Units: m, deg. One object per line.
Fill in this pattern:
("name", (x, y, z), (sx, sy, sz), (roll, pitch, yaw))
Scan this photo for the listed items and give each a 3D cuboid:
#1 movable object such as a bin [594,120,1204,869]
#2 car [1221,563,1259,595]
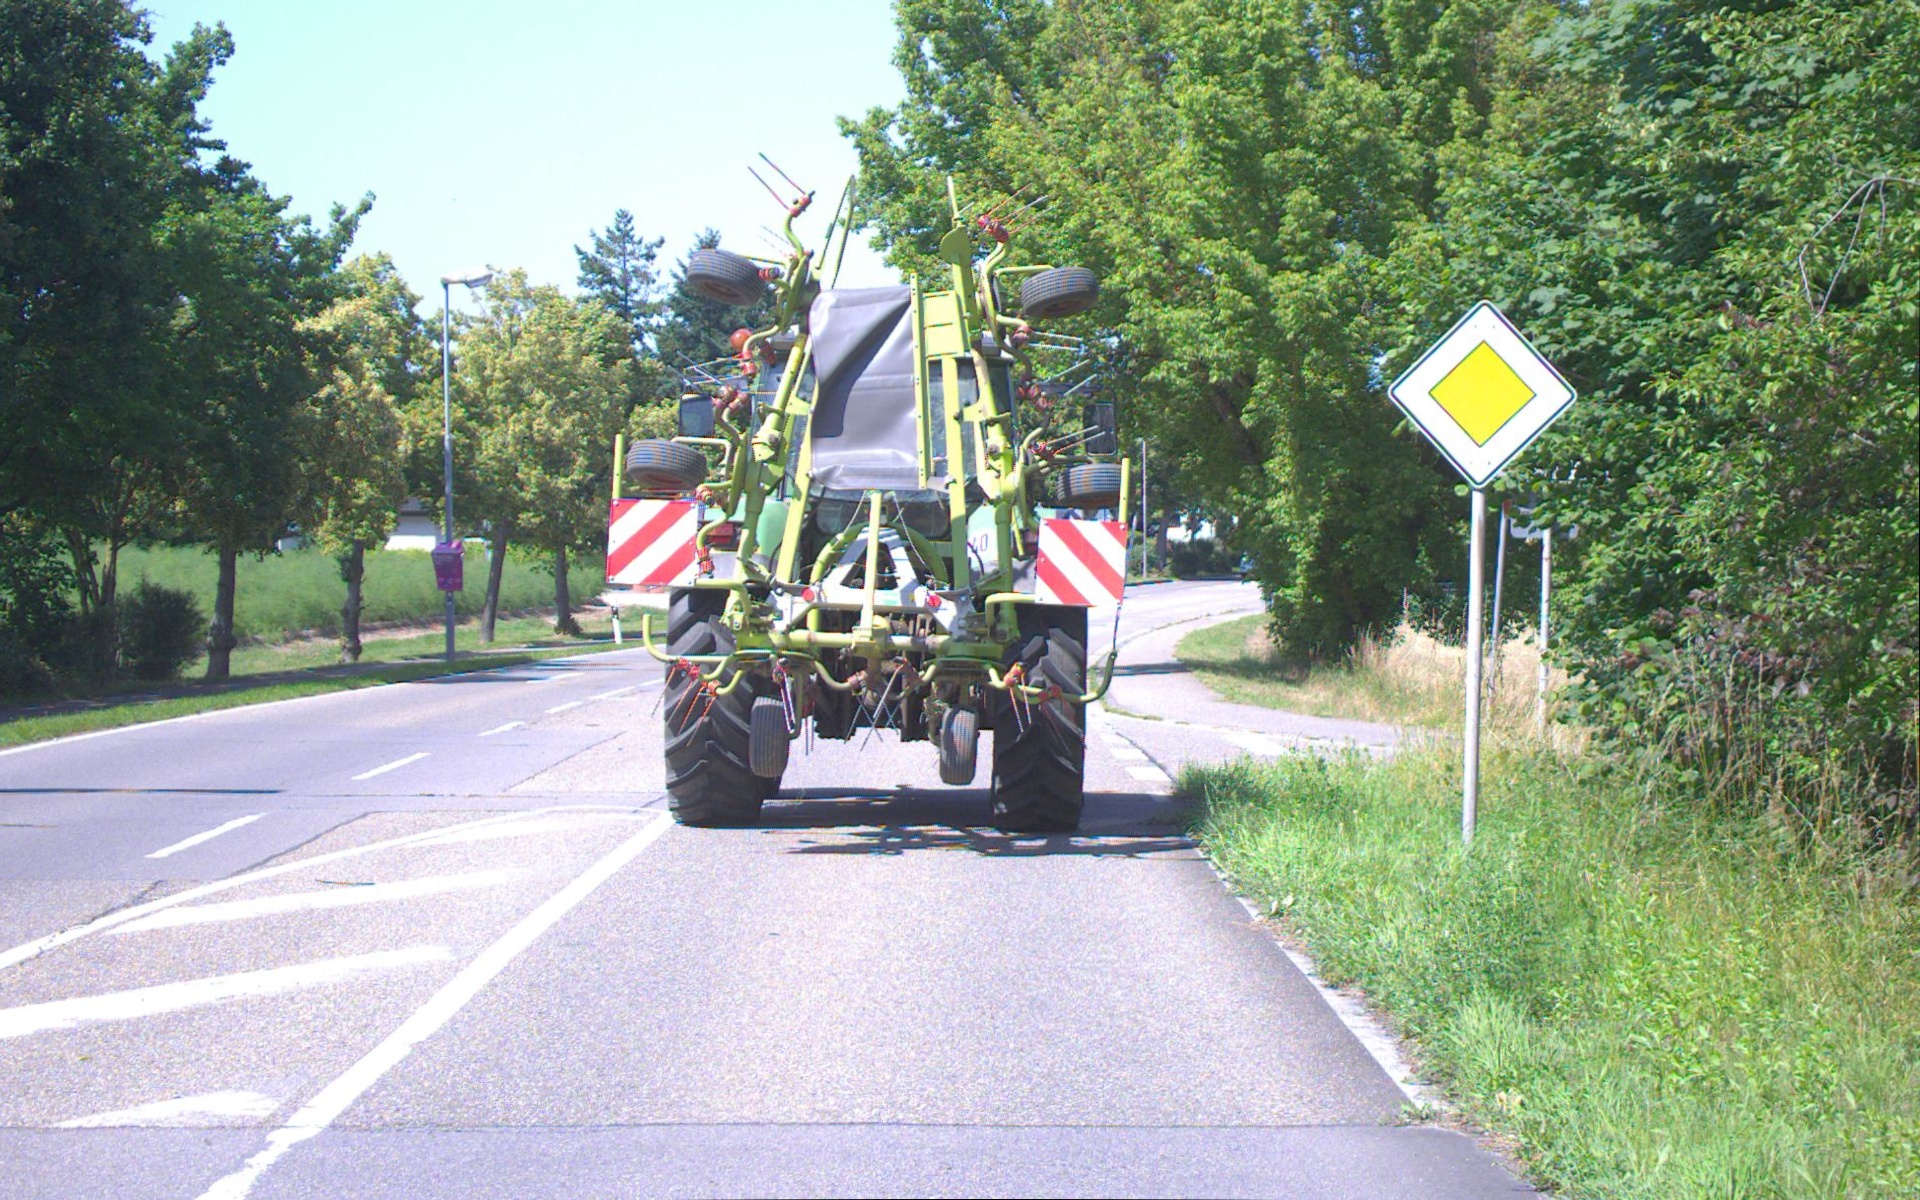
("movable object such as a bin", (-0.461, -0.616, 21.271), (2.852, 3.529, 9.702), (1, 1, -2))
("car", (13.727, -1.049, 168.339), (1.649, 1.429, 3.896), (2, 2, 7))
